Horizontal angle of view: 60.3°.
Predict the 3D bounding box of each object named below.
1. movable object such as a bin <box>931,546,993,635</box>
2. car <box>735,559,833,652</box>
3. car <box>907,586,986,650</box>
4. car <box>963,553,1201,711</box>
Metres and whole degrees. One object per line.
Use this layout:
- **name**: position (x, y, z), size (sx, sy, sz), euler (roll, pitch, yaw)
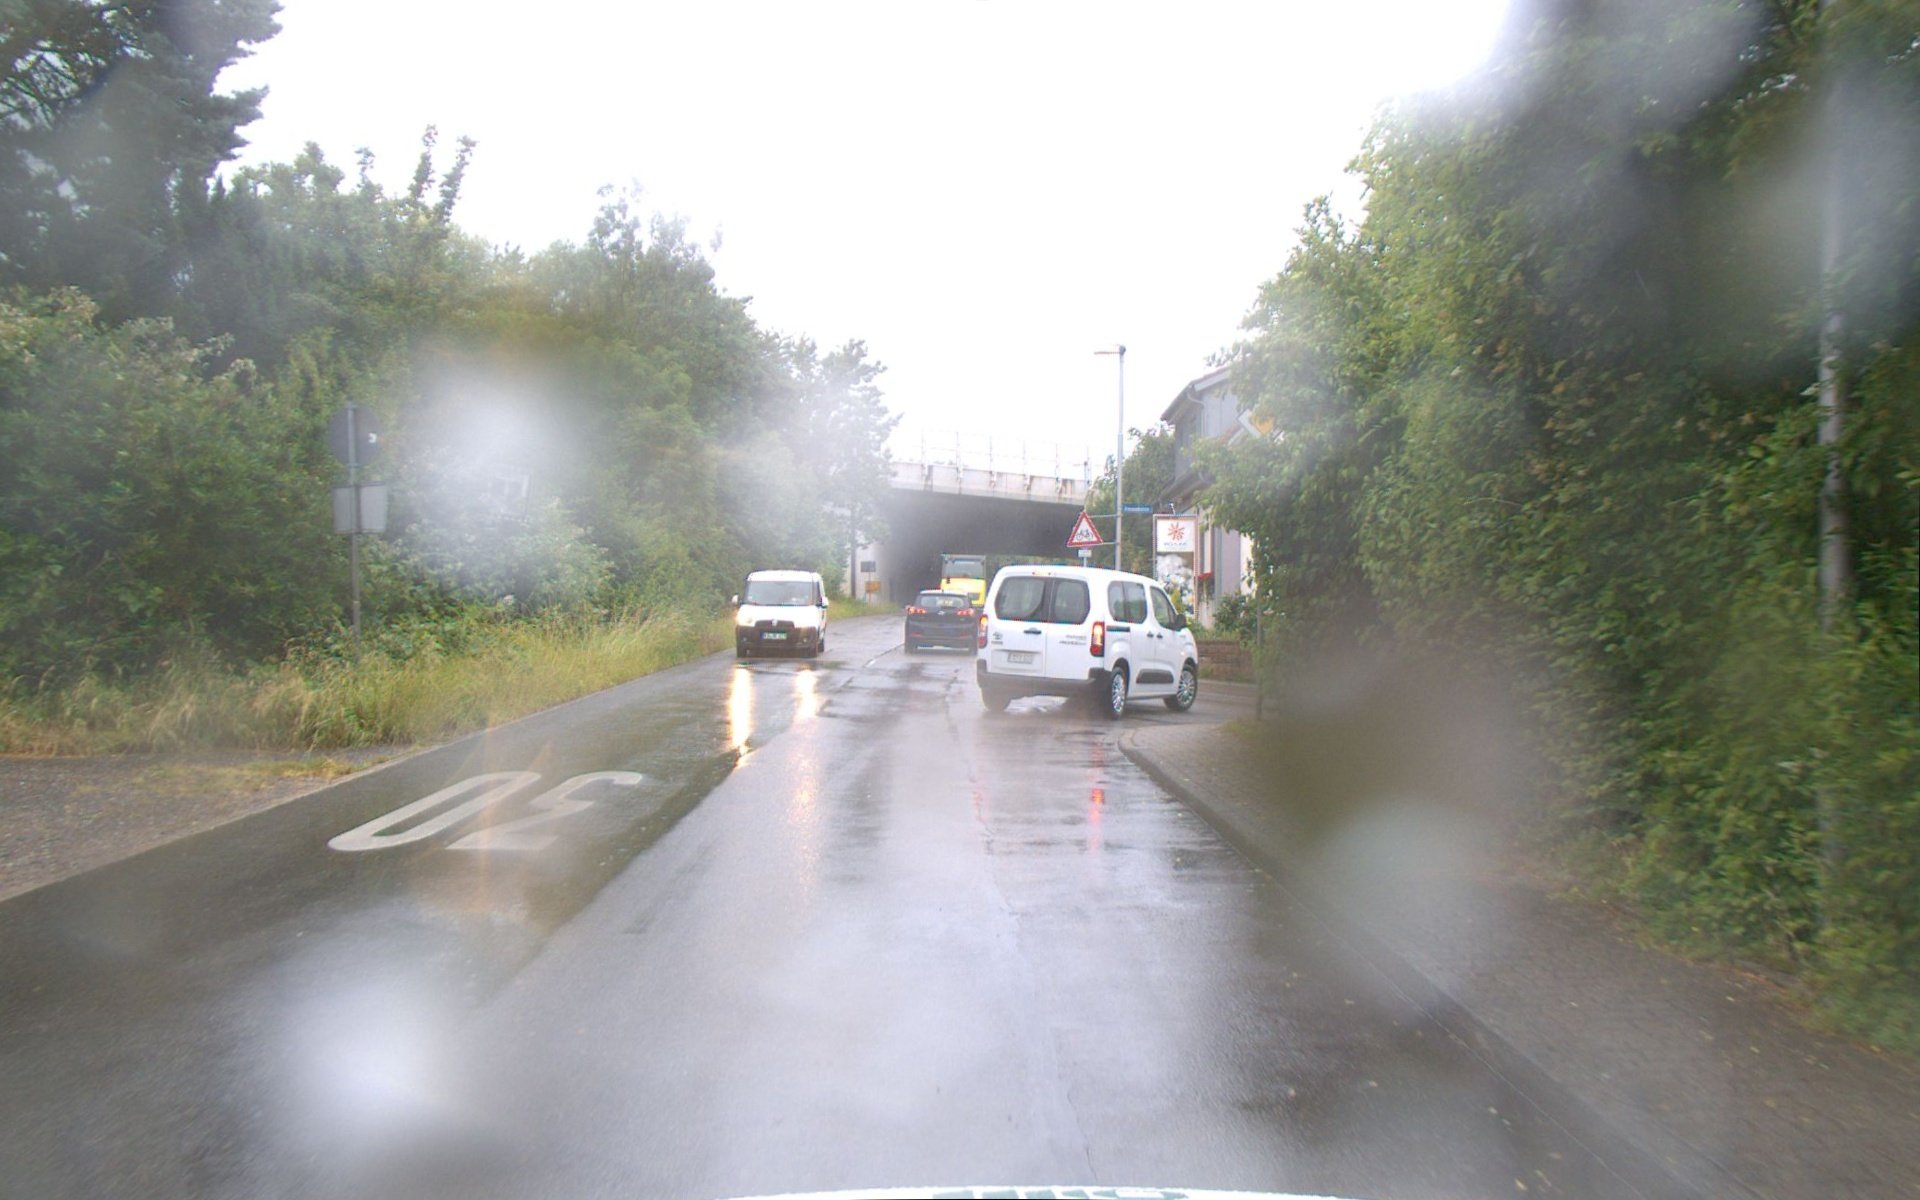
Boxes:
- **movable object such as a bin**: position (0.104, -0.290, 51.342), size (1.725, 2.592, 4.240), euler (2, 0, 2)
- **car**: position (-3.739, 0.098, 35.777), size (1.787, 1.863, 4.305), euler (1, 0, -2)
- **car**: position (-0.277, 0.388, 39.369), size (1.673, 1.401, 4.001), euler (2, 0, 2)
- **car**: position (1.694, 0.327, 21.483), size (1.858, 1.838, 3.999), euler (0, 1, 24)
